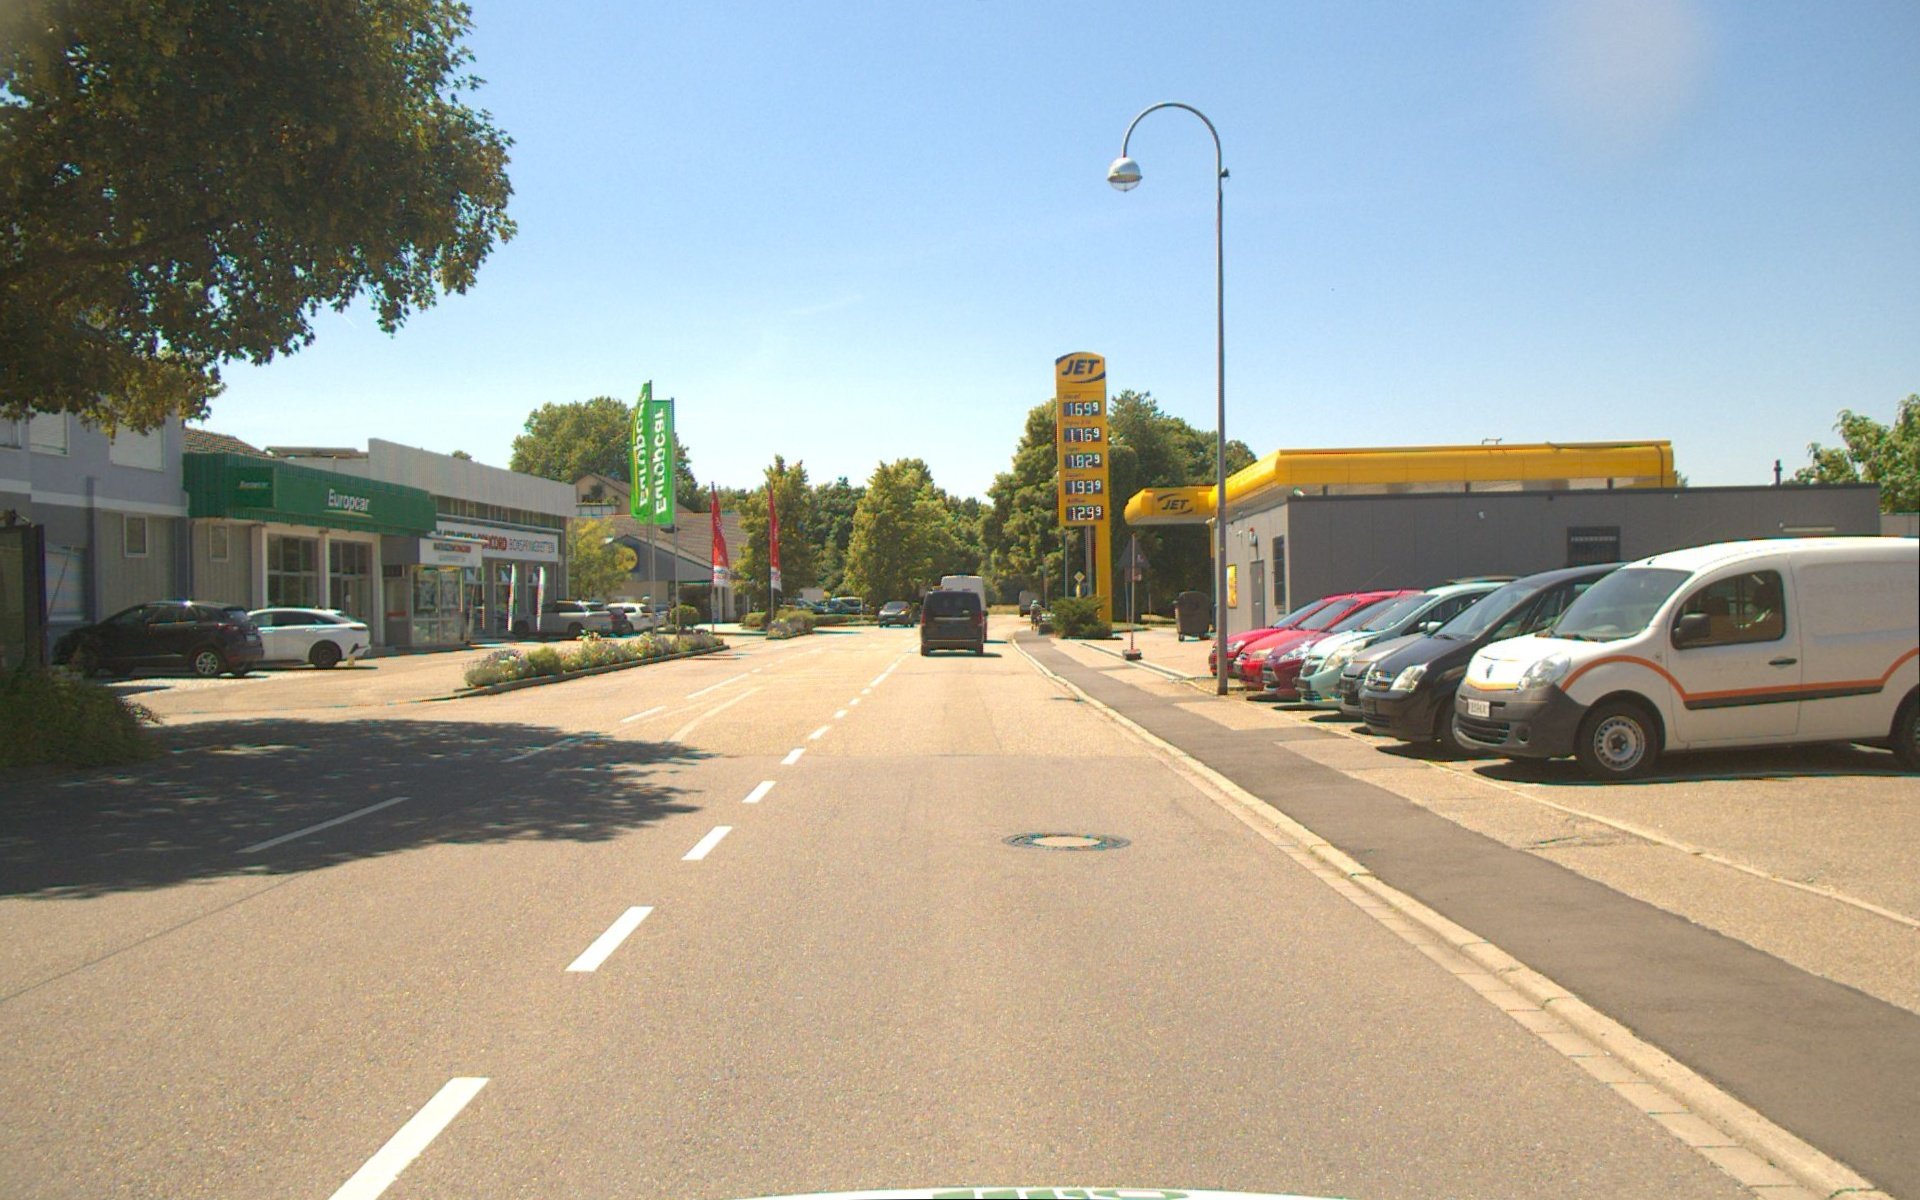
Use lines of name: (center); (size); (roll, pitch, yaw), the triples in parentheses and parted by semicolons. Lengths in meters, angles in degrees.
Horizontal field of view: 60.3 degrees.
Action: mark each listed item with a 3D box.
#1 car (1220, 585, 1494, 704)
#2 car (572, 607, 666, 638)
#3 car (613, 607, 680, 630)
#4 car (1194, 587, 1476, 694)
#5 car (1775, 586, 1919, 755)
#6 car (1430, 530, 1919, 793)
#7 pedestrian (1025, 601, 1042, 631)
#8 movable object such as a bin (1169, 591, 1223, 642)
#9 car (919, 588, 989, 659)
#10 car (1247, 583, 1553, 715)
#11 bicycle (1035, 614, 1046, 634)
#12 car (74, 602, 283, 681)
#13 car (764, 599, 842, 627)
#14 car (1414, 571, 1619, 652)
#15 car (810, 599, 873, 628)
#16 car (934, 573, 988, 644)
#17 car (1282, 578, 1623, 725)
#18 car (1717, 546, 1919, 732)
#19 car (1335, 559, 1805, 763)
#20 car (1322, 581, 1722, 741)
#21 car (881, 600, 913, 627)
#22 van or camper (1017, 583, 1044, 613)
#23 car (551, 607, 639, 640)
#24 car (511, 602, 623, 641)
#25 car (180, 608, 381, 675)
car: (5.873, 0.634, 24.715); (3.611, 1.594, 1.707); (-2, 0, -4)
car: (-16.683, 1.092, 80.964); (4.095, 1.472, 1.981); (0, 0, 16)
car: (-21.467, 1.262, 113.520); (4.223, 1.557, 1.827); (-1, 0, 0)
car: (6.089, 0.631, 27.187); (4.139, 1.561, 1.958); (-2, 0, -1)
car: (10.057, 0.688, 15.825); (3.536, 1.493, 1.947); (2, 0, -6)
car: (6.200, 0.452, 13.704); (4.054, 1.972, 1.806); (-1, 0, -6)
pedestrian: (3.554, 0.756, 80.243); (0.752, 1.446, 0.868); (0, 0, 8)
movable object such as a bin: (7.196, 0.496, 50.513); (1.405, 1.463, 1.468); (-2, 0, 0)
car: (-0.209, 0.681, 49.314); (1.953, 1.987, 5.003); (1, 0, -1)
car: (5.891, 0.628, 22.409); (3.612, 1.594, 1.748); (-2, 0, -4)
bicycle: (3.911, 1.165, 80.103); (0.370, 0.928, 1.599); (0, 0, 8)
car: (-16.578, 0.865, 35.204); (3.487, 1.592, 1.969); (-1, 0, -1)
car: (-10.157, 0.844, 107.133); (4.607, 1.793, 2.100); (0, -1, 8)
car: (12.217, 0.255, 36.499); (3.904, 1.686, 1.948); (-1, 0, 2)
car: (-8.383, 0.991, 117.291); (4.266, 2.015, 1.905); (0, -1, 2)
car: (0.050, 0.348, 66.835); (2.035, 2.750, 4.666); (1, 0, 0)
car: (5.923, 0.592, 20.141); (3.611, 1.594, 1.641); (-2, 0, -3)
car: (10.511, 0.456, 17.900); (3.813, 1.870, 1.689); (2, 0, 1)
car: (5.717, 0.542, 15.790); (3.798, 1.710, 1.762); (-2, 0, -4)
car: (6.028, 0.625, 18.057); (3.714, 1.536, 1.833); (-2, 0, 0)
car: (-3.859, 0.802, 101.558); (1.726, 1.553, 4.138); (-2, 0, 0)
van or camper: (7.042, -0.194, 165.948); (2.578, 2.980, 5.206); (1, -1, 0)
car: (-17.250, 1.092, 78.170); (3.550, 1.500, 2.001); (0, 0, 19)
car: (-17.398, 0.942, 73.183); (4.435, 1.693, 2.001); (0, 0, 19)
car: (-15.999, 0.955, 39.079); (4.281, 1.464, 1.926); (-1, 0, -23)
